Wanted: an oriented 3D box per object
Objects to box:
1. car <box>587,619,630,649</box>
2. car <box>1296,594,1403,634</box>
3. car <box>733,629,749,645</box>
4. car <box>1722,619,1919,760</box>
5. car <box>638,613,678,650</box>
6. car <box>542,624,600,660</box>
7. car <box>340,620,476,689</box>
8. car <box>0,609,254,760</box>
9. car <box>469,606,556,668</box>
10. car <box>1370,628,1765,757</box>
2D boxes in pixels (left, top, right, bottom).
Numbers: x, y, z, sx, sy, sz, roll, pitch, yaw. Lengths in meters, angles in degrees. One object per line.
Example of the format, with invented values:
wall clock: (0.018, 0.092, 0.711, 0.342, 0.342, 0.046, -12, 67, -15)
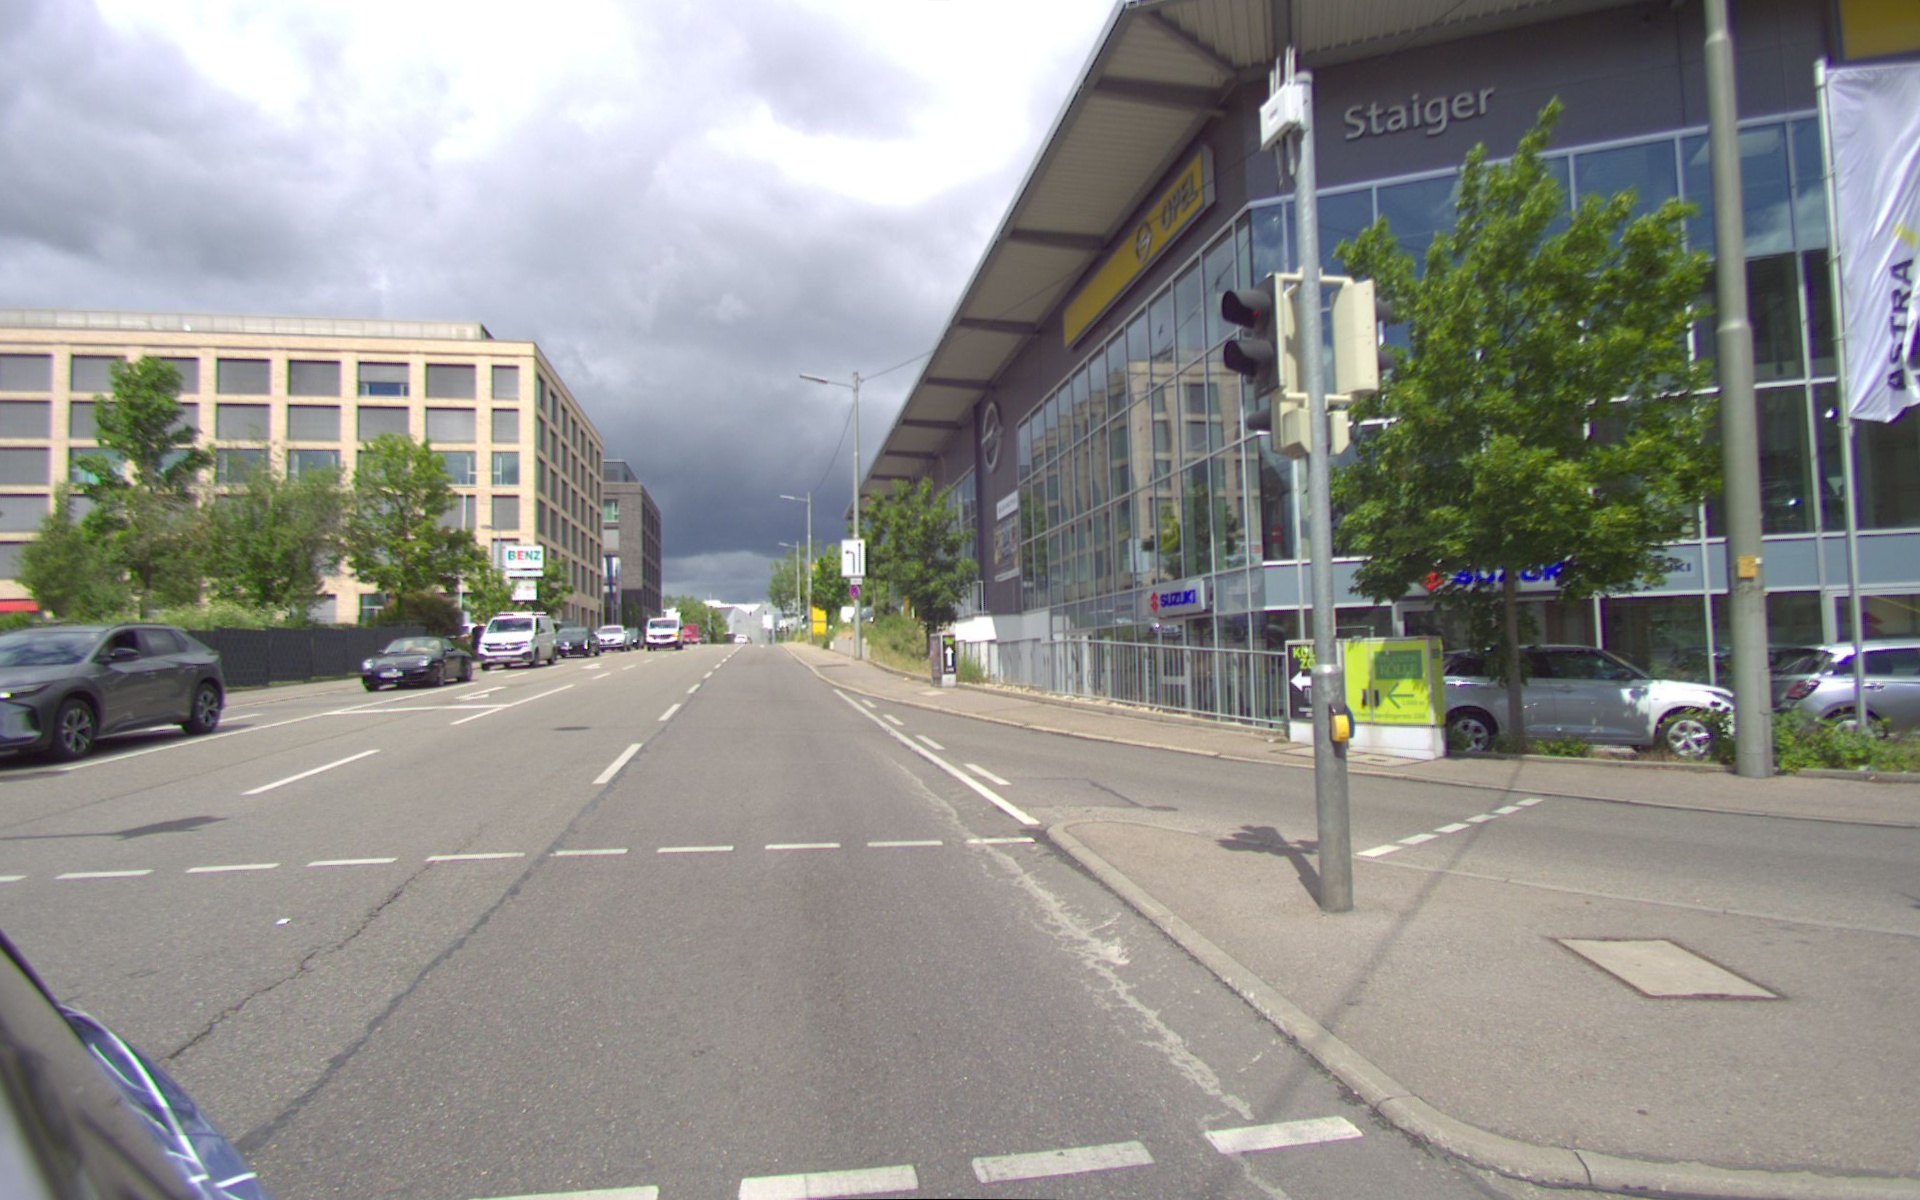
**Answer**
car: (-20.914, 1.984, 60.351, 1.967, 1.545, 4.342, -1, 1, -13)
car: (17.096, 0.562, 44.718, 1.967, 1.624, 4.894, -1, 1, -14)
car: (-30.379, 5.127, 140.271, 1.967, 1.888, 5.003, -1, 0, -13)
car: (12.255, 1.039, 12.331, 4.268, 1.574, 1.938, -2, -1, 17)
car: (-18.017, 1.833, 60.606, 1.967, 2.008, 5.003, -1, 0, -13)
car: (-18.677, 2.003, 48.777, 1.967, 1.477, 4.342, -1, 1, -13)
car: (-14.152, 1.333, 26.237, 1.967, 1.477, 4.342, -1, 1, -13)
car: (-11.402, 0.971, 13.083, 1.967, 1.590, 5.111, -1, -1, -13)
car: (-16.430, 1.288, 37.418, 1.967, 2.027, 4.828, -1, 0, -12)
car: (7.888, 1.171, 13.713, 4.277, 1.485, 1.934, -2, -1, 23)
